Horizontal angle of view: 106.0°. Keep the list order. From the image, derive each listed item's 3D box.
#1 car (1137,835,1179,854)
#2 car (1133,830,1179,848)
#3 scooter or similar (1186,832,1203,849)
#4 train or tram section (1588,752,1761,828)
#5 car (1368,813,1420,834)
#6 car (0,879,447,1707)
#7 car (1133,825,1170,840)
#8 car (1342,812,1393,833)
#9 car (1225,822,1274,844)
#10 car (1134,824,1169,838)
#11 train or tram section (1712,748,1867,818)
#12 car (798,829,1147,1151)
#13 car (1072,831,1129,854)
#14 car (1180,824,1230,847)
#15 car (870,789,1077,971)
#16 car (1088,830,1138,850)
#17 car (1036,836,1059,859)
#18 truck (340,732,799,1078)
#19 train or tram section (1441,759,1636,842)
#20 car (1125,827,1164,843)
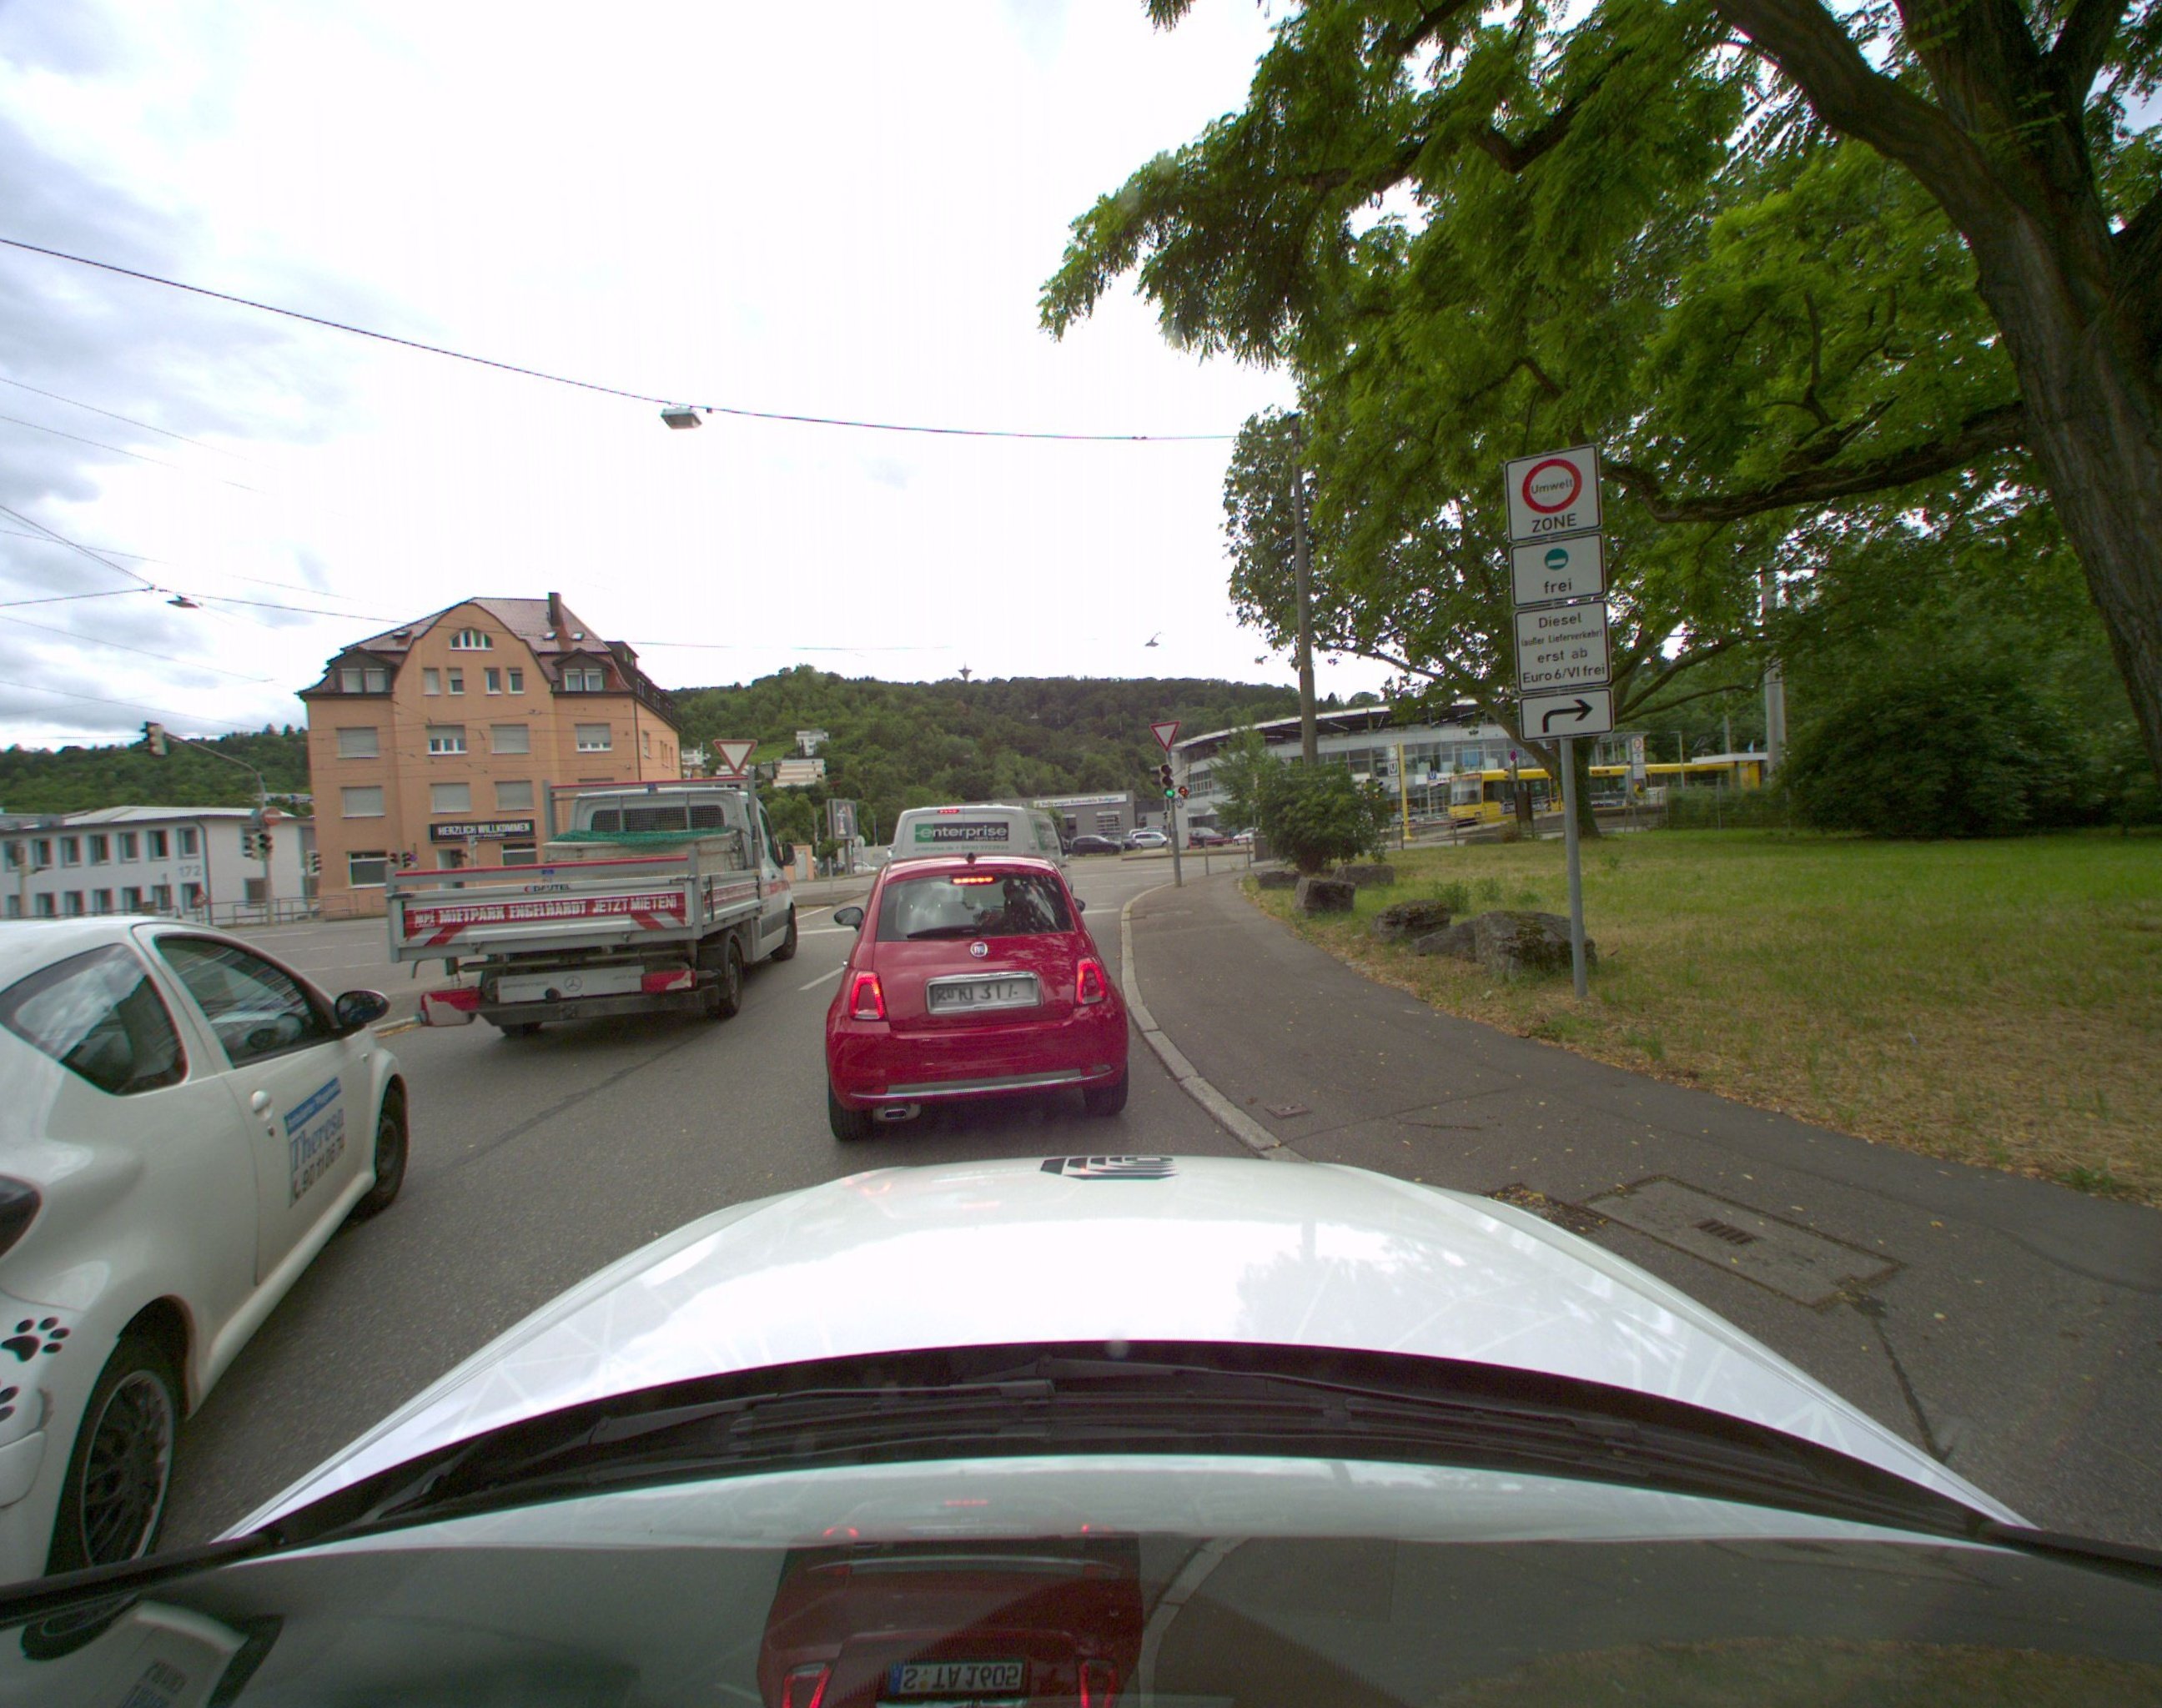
[{"bbox_3d":[8.515,-1.039,90.072,4.479,1.997,2.000,0,-1,1],"label":"car"},{"bbox_3d":[7.466,-1.486,81.421,4.477,1.729,2.002,0,-1,3],"label":"car"},{"bbox_3d":[8.631,-1.010,62.182,1.198,1.288,0.575,0,-1,-3],"label":"scooter or similar"},{"bbox_3d":[37.443,-4.071,51.213,11.921,3.966,2.730,-5,1,-22],"label":"train or tram section"},{"bbox_3d":[27.531,-2.692,71.749,1.931,1.554,3.967,-5,1,-25],"label":"car"},{"bbox_3d":[-3.251,0.826,2.475,1.603,1.420,3.341,0,-1,-30],"label":"car"},{"bbox_3d":[8.682,-2.603,100.698,4.480,1.729,2.000,0,-1,0],"label":"car"},{"bbox_3d":[24.902,-2.722,70.893,1.931,1.554,3.967,-5,1,-25],"label":"car"},{"bbox_3d":[13.872,-1.693,67.400,2.003,1.640,3.967,0,-1,-25],"label":"car"},{"bbox_3d":[9.135,-2.932,105.866,4.480,1.729,2.000,0,-1,0],"label":"car"},{"bbox_3d":[48.470,-4.900,55.603,11.921,3.966,2.730,-5,1,-22],"label":"train or tram section"},{"bbox_3d":[-0.804,0.613,5.976,1.697,1.525,3.988,0,1,-9],"label":"car"},{"bbox_3d":[1.492,-0.874,61.584,3.957,1.639,2.009,-1,4,15],"label":"car"},{"bbox_3d":[9.875,-1.463,65.062,2.004,1.640,3.966,-3,1,-25],"label":"car"},{"bbox_3d":[-1.227,0.211,11.602,1.990,2.040,4.837,0,2,4],"label":"car"},{"bbox_3d":[2.732,-1.202,70.323,3.984,1.706,1.995,0,-1,-8],"label":"car"},{"bbox_3d":[-3.192,-0.604,79.428,1.988,2.013,5.014,-4,-1,-1],"label":"car"},{"bbox_3d":[-4.692,0.267,8.838,2.316,2.421,5.630,-4,2,-13],"label":"truck"},{"bbox_3d":[26.388,-3.122,46.782,11.921,3.966,2.730,-5,1,-22],"label":"train or tram section"},{"bbox_3d":[7.509,-2.262,96.377,4.480,1.729,2.000,0,-1,0],"label":"car"}]
